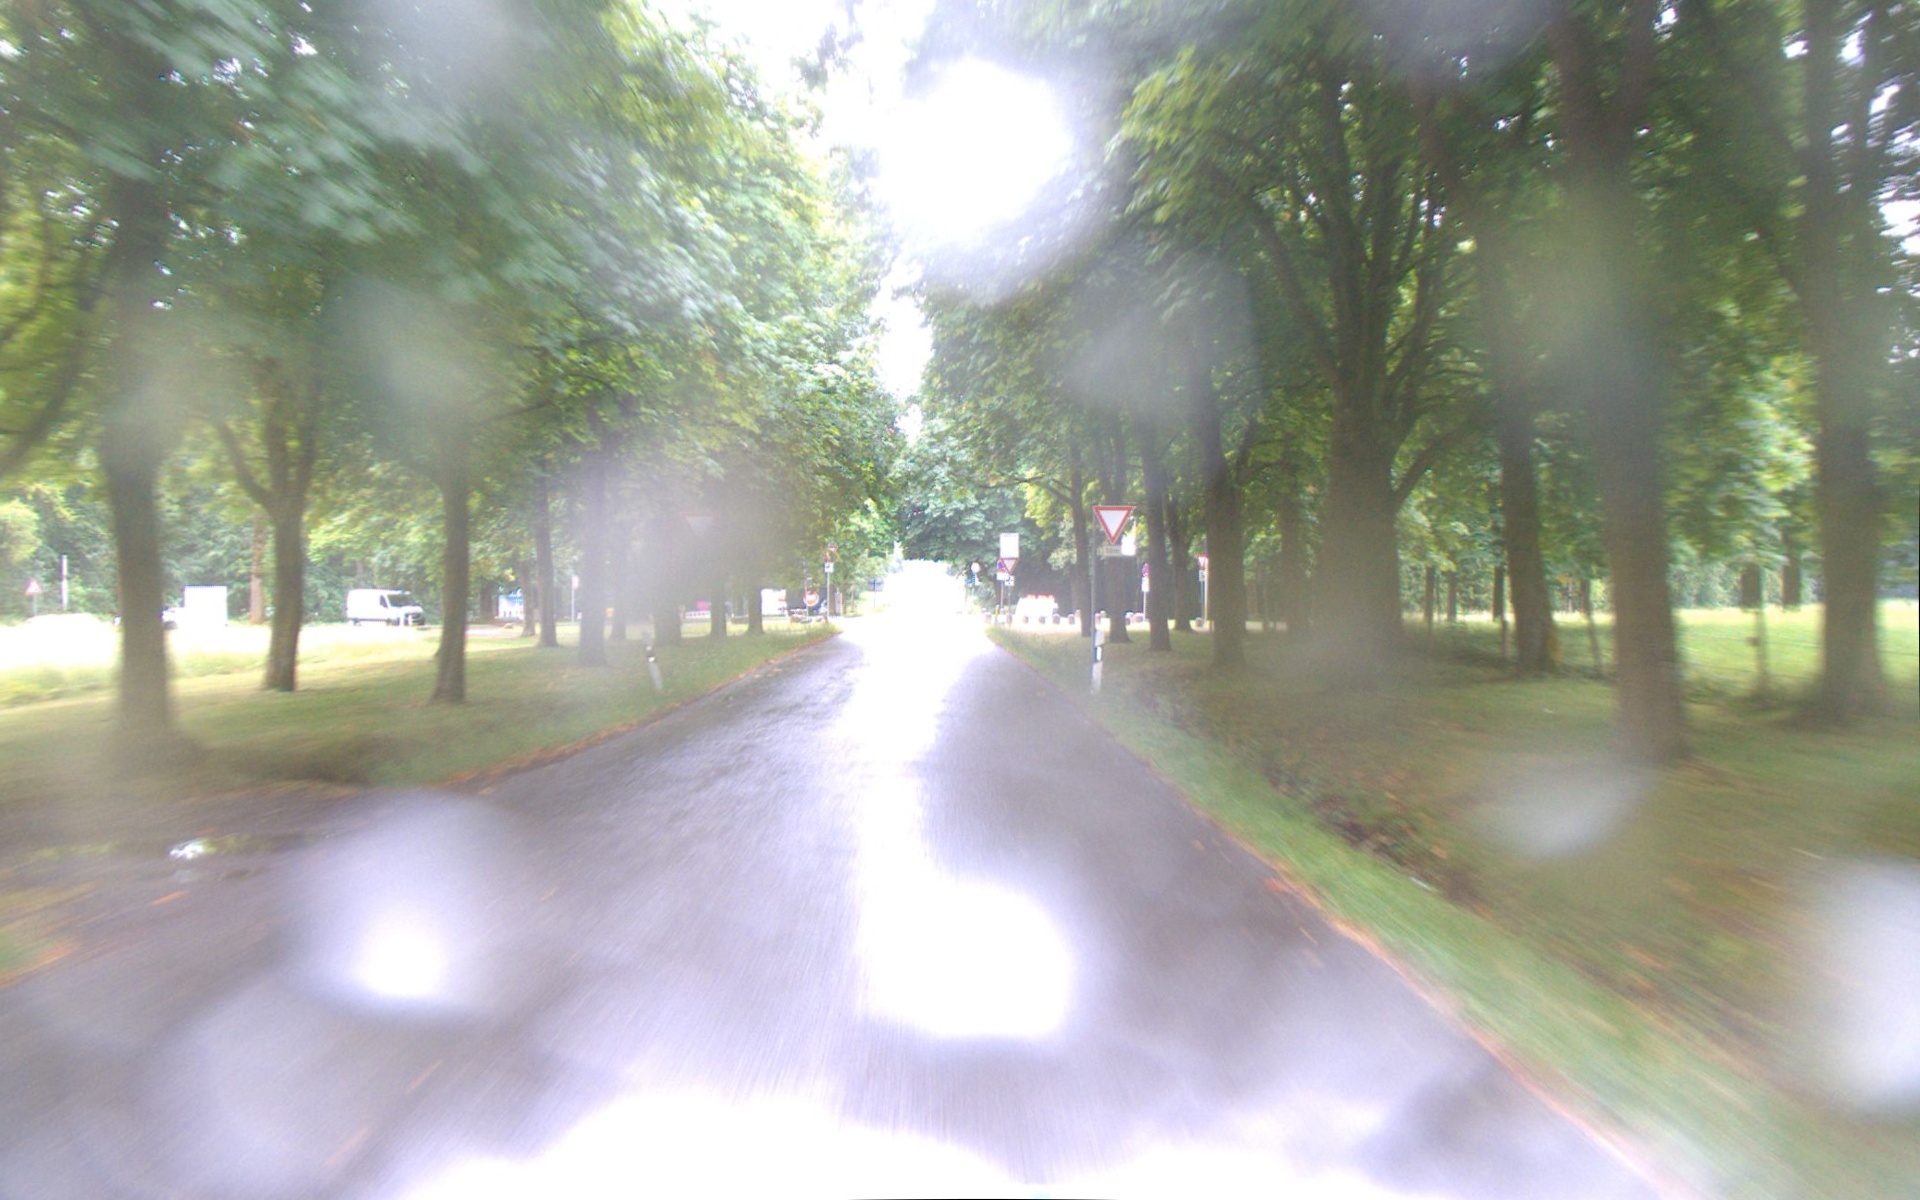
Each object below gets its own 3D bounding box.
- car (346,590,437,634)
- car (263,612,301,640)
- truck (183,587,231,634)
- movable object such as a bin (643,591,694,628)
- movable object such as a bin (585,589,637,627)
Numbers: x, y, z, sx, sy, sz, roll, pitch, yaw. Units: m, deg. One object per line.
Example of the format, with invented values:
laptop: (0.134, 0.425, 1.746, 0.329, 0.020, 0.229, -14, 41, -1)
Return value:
car: (-33.076, 0.725, 96.119, 5.873, 2.450, 2.379, -2, -2, 41)
car: (-37.447, 1.419, 91.425, 1.736, 1.454, 4.084, -1, 0, -19)
truck: (-40.826, 0.545, 89.686, 1.839, 2.485, 3.335, 0, 0, -15)
movable object such as a bin: (-26.841, 0.868, 152.163, 4.501, 3.352, 3.655, -1, 0, -12)
movable object such as a bin: (-31.722, 0.712, 150.410, 4.573, 3.352, 3.901, -1, 0, -12)
